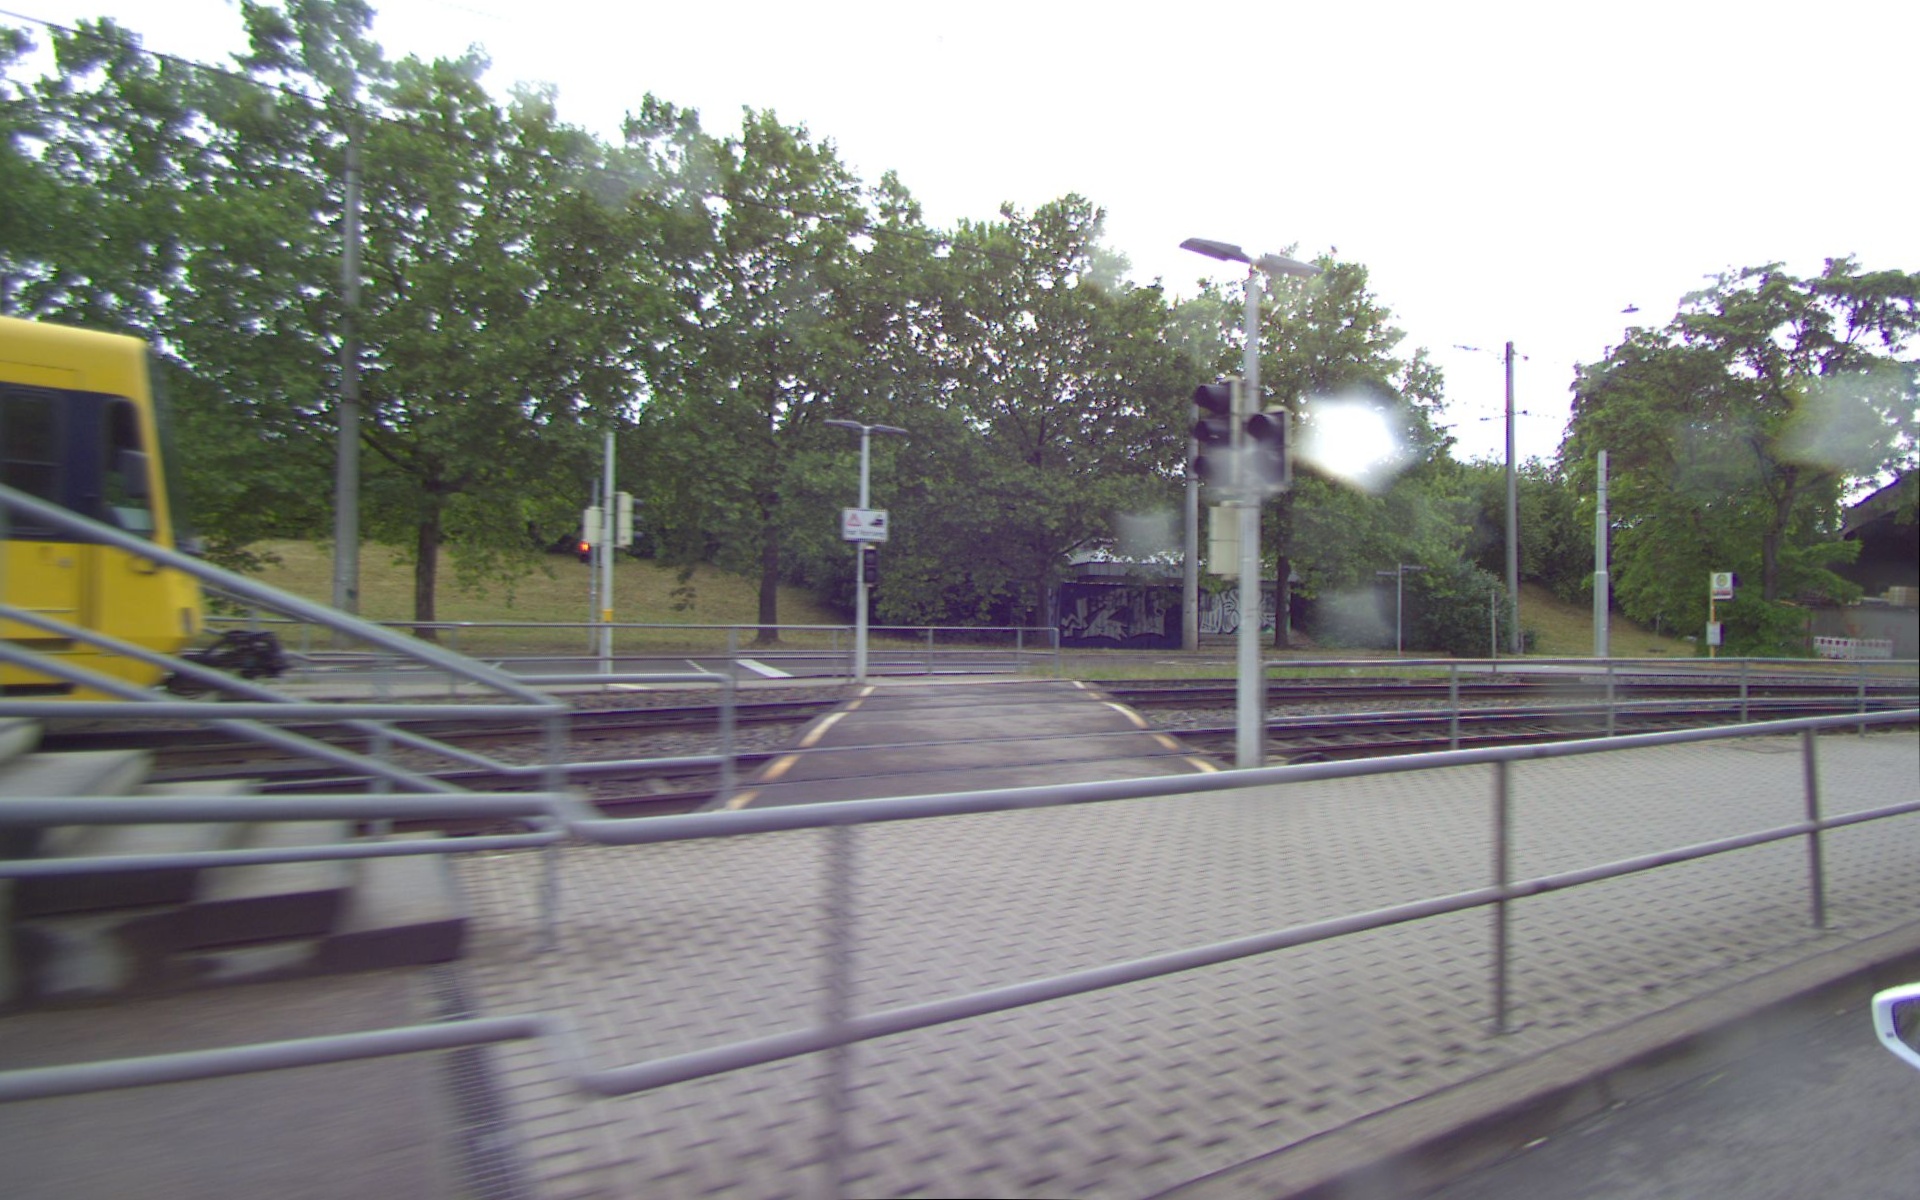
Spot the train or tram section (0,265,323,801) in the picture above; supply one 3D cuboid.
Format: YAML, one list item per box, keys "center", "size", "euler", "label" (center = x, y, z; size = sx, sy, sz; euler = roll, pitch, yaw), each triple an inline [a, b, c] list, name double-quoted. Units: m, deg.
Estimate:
- center: [-14.060, -0.829, 4.075]
  size: [19.154, 4.013, 2.847]
  euler: [3, 1, -37]
  label: "train or tram section"
